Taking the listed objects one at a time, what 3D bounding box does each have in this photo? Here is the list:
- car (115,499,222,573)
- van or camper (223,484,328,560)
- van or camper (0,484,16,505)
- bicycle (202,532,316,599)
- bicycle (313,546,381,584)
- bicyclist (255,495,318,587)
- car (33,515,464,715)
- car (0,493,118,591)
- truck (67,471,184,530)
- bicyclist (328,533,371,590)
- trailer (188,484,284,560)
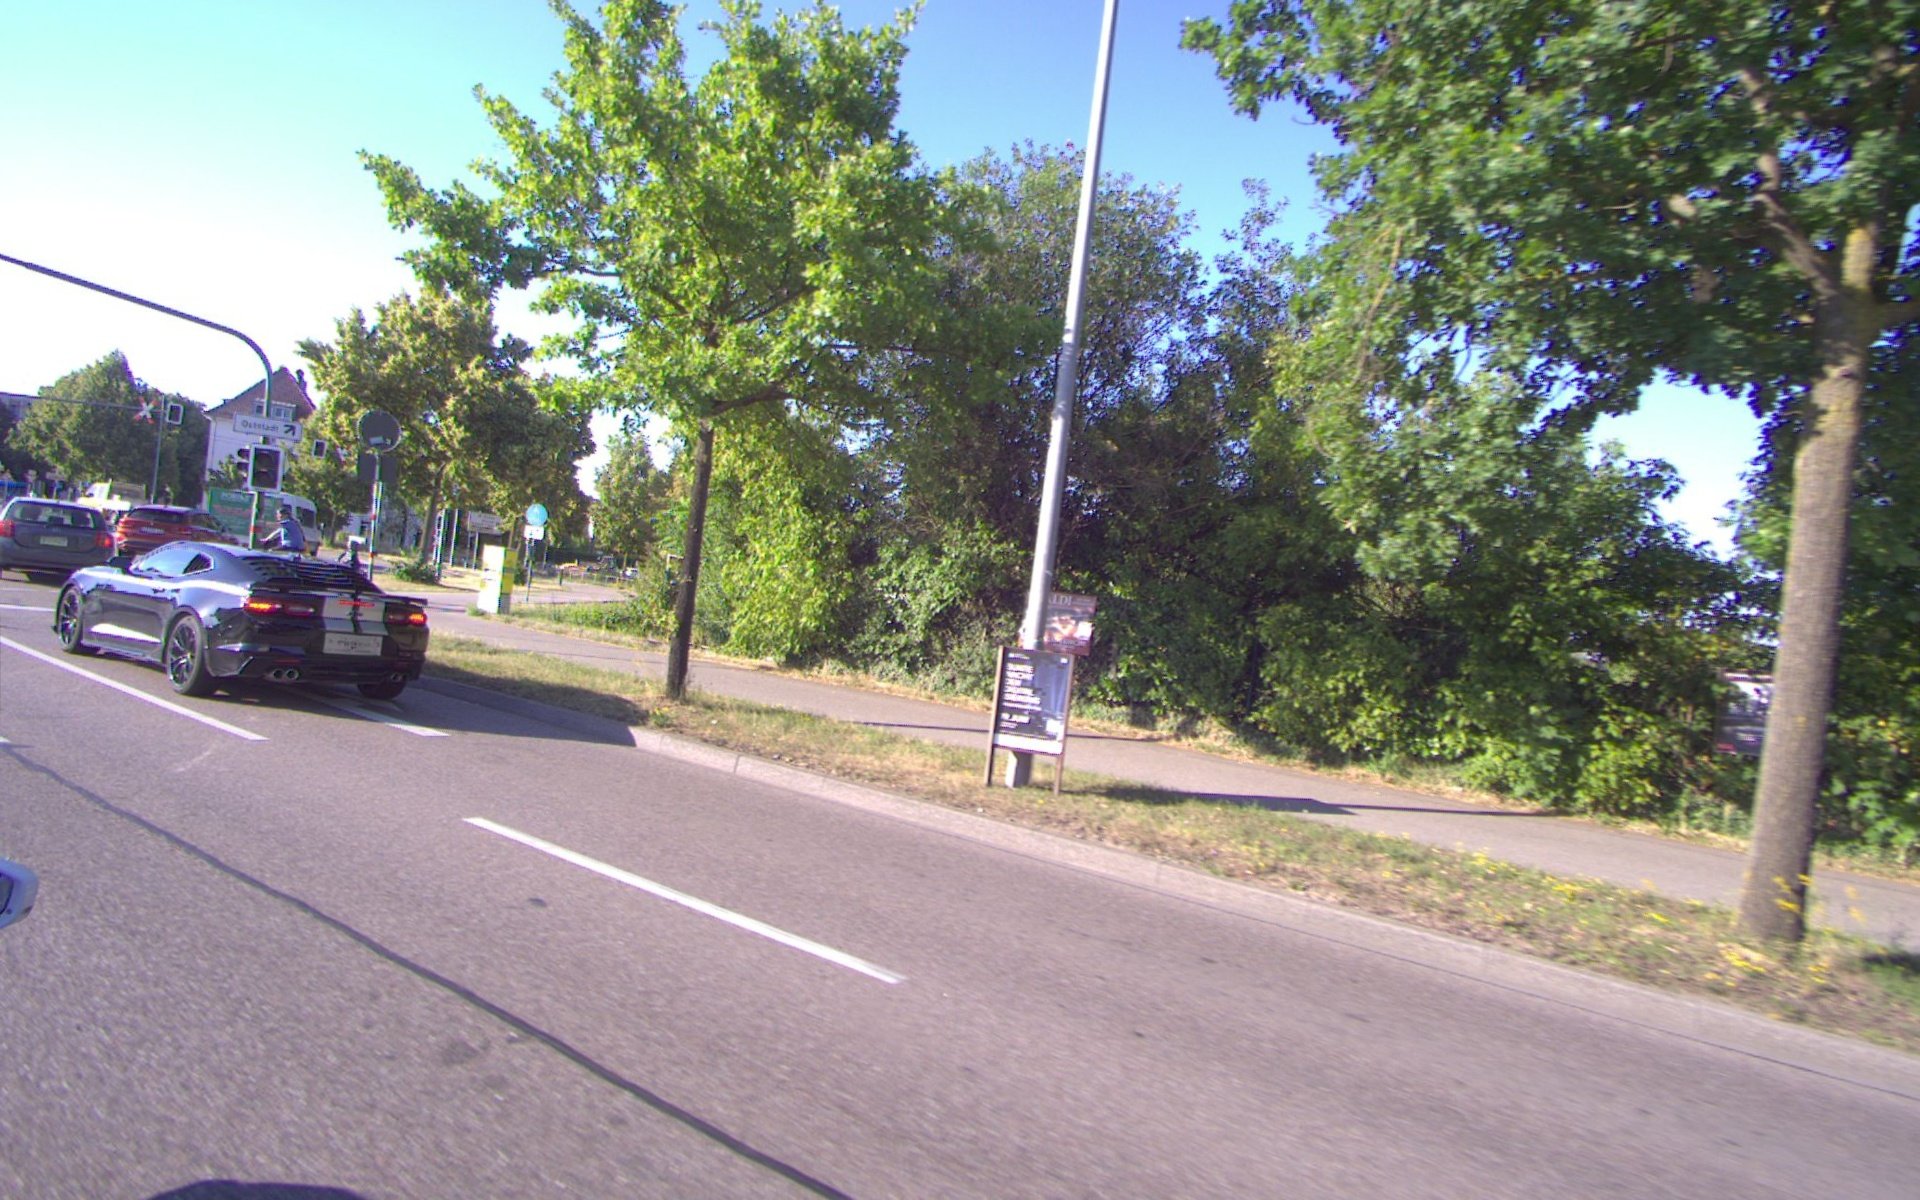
[{"bbox_3d":[-22.070,-1.802,28.195,1.736,1.640,3.787,9,-1,-31],"label":"car"},{"bbox_3d":[-29.848,-3.304,44.117,2.263,2.659,6.548,8,-1,-23],"label":"van or camper"},{"bbox_3d":[-106.735,-11.840,111.210,2.075,2.181,4.395,7,0,-26],"label":"van or camper"},{"bbox_3d":[-15.401,-0.751,22.144,1.883,1.260,0.606,6,1,-22],"label":"bicycle"},{"bbox_3d":[-14.992,-0.835,24.623,0.431,0.796,1.464,7,0,15],"label":"bicycle"},{"bbox_3d":[-14.915,-1.293,22.301,0.926,1.923,0.598,5,1,-21],"label":"bicyclist"},{"bbox_3d":[-7.296,0.112,10.193,4.548,1.353,1.858,7,-2,32],"label":"car"},{"bbox_3d":[-16.993,-1.130,18.775,1.741,1.491,3.774,7,0,-42],"label":"car"},{"bbox_3d":[-48.237,-5.726,58.119,6.138,2.589,2.587,7,0,24],"label":"truck"},{"bbox_3d":[-14.961,-0.943,24.656,0.457,1.311,0.651,8,1,15],"label":"bicyclist"},{"bbox_3d":[-27.630,-2.900,38.516,2.071,2.428,3.481,8,-2,-25],"label":"trailer"}]
